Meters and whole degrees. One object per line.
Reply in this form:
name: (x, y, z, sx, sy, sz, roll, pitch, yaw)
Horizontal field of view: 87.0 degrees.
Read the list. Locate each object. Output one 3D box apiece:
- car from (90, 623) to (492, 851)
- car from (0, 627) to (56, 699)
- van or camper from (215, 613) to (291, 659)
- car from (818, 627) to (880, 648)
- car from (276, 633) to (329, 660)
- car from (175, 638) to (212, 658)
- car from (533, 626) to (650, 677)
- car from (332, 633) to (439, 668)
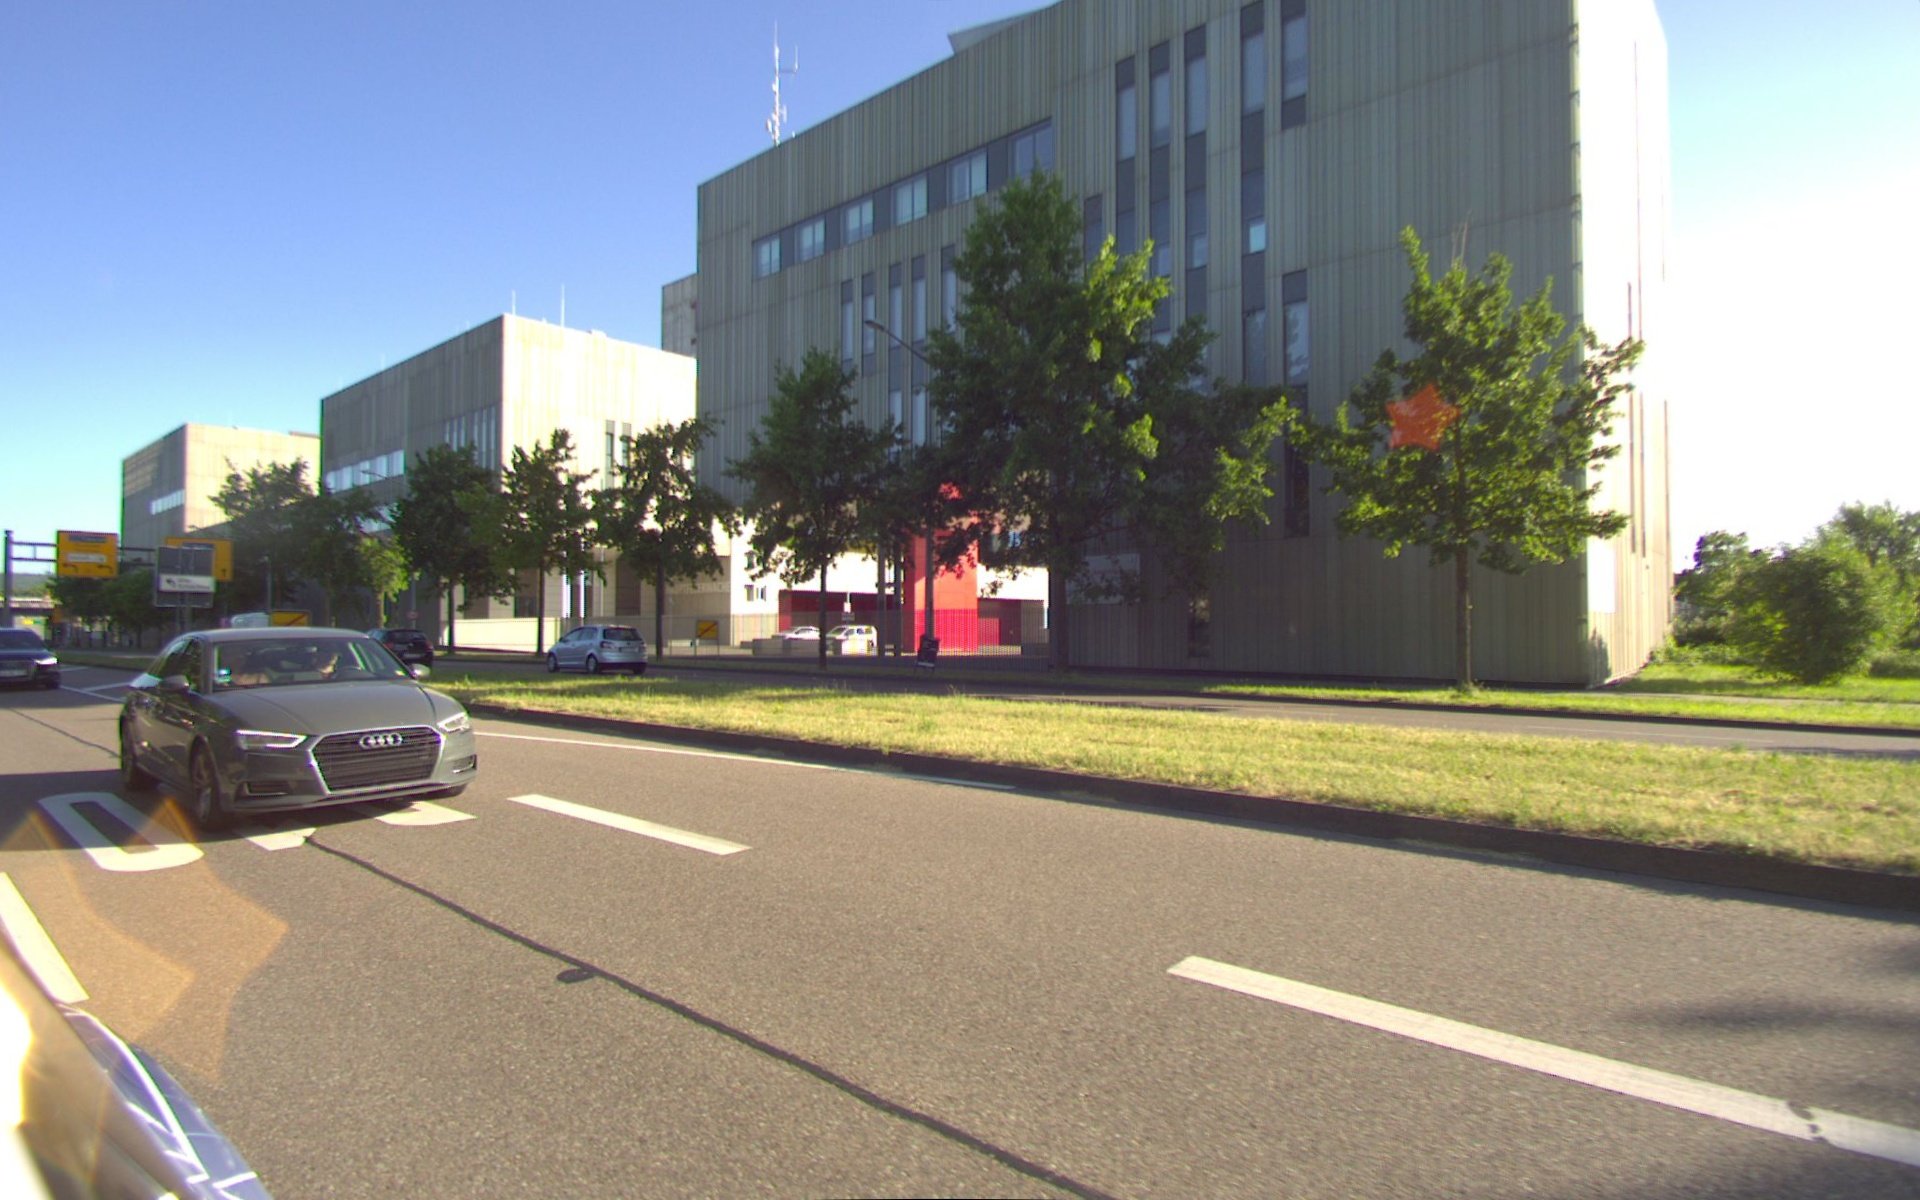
car: (-5.697, 0.931, 8.393, 4.362, 1.415, 1.680, -2, -3, 41)
car: (-22.362, 1.434, 23.419, 3.945, 1.549, 1.680, -2, -2, 41)
van or camper: (-39.084, 2.027, 55.882, 5.990, 2.387, 1.973, -2, -4, 41)
car: (-8.204, 2.750, 74.981, 1.935, 1.515, 4.340, -3, -3, 43)
car: (-39.002, 2.748, 60.046, 4.023, 1.519, 1.535, -2, -3, 40)
car: (-57.499, 3.590, 75.893, 3.457, 1.447, 1.431, -2, -3, 40)
car: (-11.673, 1.600, 31.965, 4.045, 1.488, 1.671, -2, -3, 40)
car: (-19.474, 1.682, 34.244, 4.170, 1.120, 1.809, -2, -3, 40)
